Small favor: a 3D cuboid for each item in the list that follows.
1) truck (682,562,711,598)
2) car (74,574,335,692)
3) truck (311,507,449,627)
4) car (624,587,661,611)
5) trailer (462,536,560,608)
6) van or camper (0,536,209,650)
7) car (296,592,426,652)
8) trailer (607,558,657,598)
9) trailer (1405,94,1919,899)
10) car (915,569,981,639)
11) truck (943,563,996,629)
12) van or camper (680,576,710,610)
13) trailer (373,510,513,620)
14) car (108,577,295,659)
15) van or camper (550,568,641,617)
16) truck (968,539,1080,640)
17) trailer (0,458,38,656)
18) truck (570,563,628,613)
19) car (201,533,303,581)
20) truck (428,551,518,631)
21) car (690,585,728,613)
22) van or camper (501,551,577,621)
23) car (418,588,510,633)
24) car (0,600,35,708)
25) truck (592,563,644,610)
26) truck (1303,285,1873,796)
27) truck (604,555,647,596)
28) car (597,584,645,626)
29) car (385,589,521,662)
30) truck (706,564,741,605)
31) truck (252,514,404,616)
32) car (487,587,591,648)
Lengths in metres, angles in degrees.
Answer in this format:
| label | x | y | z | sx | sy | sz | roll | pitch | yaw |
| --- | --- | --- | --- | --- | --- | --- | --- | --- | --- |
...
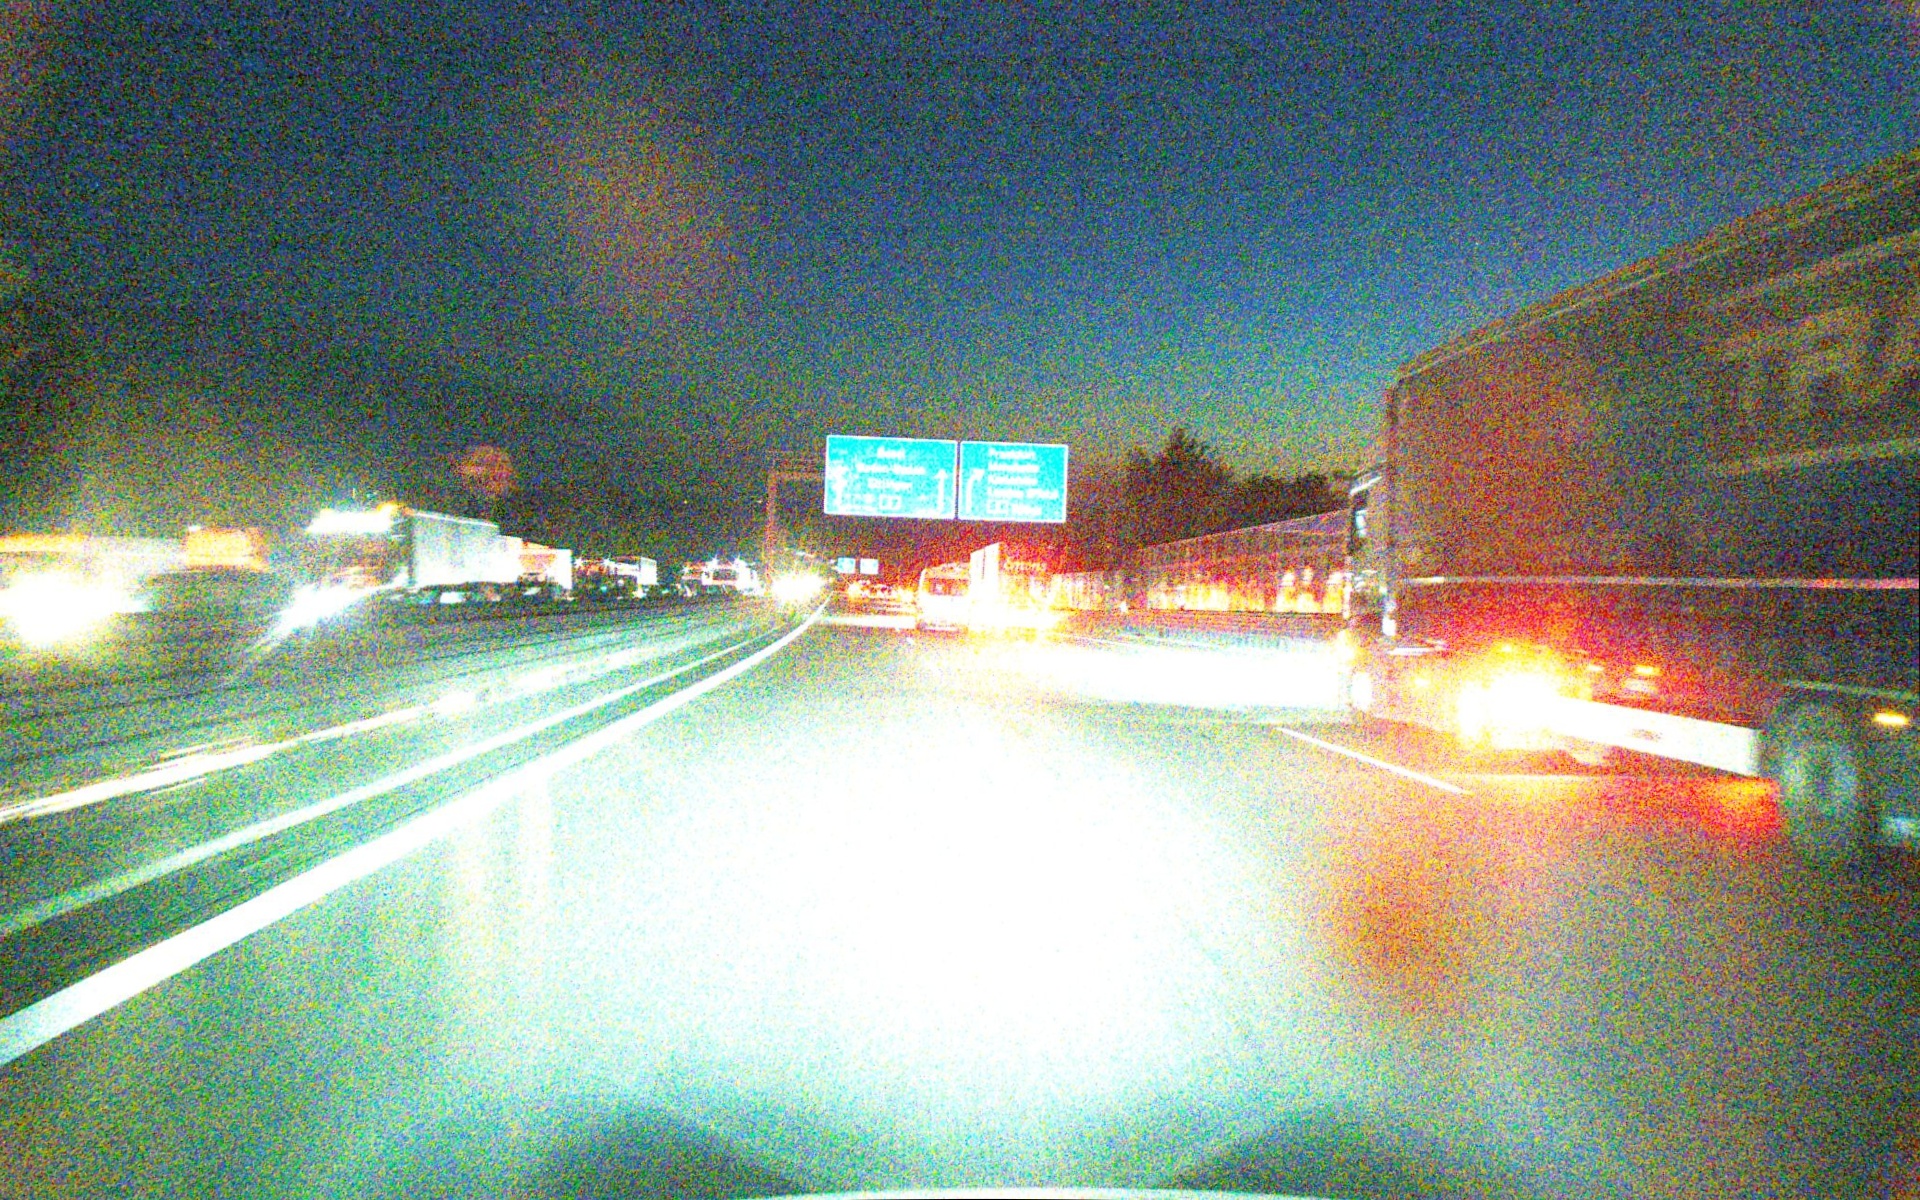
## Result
| label | x | y | z | sx | sy | sz | roll | pitch | yaw |
| --- | --- | --- | --- | --- | --- | --- | --- | --- | --- |
| truck | -28.577 | -2.199 | 179.418 | 2.820 | 3.737 | 6.040 | 3 | 0 | -8 |
| car | -9.811 | 0.395 | 21.820 | 1.538 | 1.378 | 4.000 | 1 | 0 | 1 |
| truck | -18.859 | -1.023 | 54.208 | 2.355 | 3.575 | 6.719 | 2 | 0 | -3 |
| car | -18.732 | -0.062 | 97.696 | 1.539 | 1.378 | 3.998 | 1 | 0 | -3 |
| trailer | -25.113 | -1.475 | 93.242 | 2.826 | 3.740 | 13.119 | 1 | 0 | -4 |
| van or camper | -17.831 | -0.144 | 33.712 | 2.144 | 2.049 | 7.633 | 1 | 0 | -5 |
| car | -14.950 | 0.517 | 41.506 | 1.760 | 1.378 | 4.238 | 1 | 0 | -1 |
| trailer | -30.890 | -2.012 | 156.386 | 2.902 | 3.502 | 13.425 | 3 | 0 | -4 |
| trailer | 6.253 | -0.542 | 10.359 | 2.797 | 4.138 | 13.197 | 0 | 0 | -3 |
| car | -0.422 | 0.164 | 66.975 | 2.288 | 2.686 | 5.249 | 1 | 0 | 3 |
| truck | 0.600 | -0.342 | 126.200 | 3.277 | 4.554 | 13.904 | 3 | 0 | -2 |
| van or camper | -22.127 | -0.590 | 138.274 | 2.044 | 2.678 | 7.595 | 1 | 0 | -6 |
| trailer | -19.323 | -1.185 | 62.573 | 2.346 | 3.690 | 11.171 | 2 | 0 | -4 |
| car | -13.889 | 0.316 | 30.518 | 1.538 | 1.378 | 4.000 | 1 | 0 | 1 |
| van or camper | -11.144 | -0.229 | 50.928 | 1.783 | 1.378 | 5.349 | 1 | 0 | -2 |
| truck | 3.041 | -0.512 | 87.185 | 3.837 | 4.708 | 21.003 | 0 | 0 | -3 |
| trailer | -16.955 | -0.823 | 23.585 | 2.553 | 3.231 | 9.000 | 3 | -1 | -1 |
| truck | -23.161 | -0.708 | 106.333 | 2.506 | 3.038 | 7.446 | 1 | -1 | -4 |
| car | -22.418 | -1.331 | 52.512 | 1.538 | 1.378 | 3.999 | 1 | 0 | -1 |
| truck | -24.366 | -0.434 | 83.081 | 2.826 | 3.740 | 7.257 | 1 | 0 | -4 |
| car | -13.025 | -0.072 | 85.989 | 1.539 | 1.378 | 3.997 | 1 | 0 | -4 |
| van or camper | -21.397 | -0.686 | 84.408 | 2.384 | 3.329 | 7.387 | 1 | 0 | -4 |
| car | -16.099 | 0.320 | 53.902 | 1.760 | 1.378 | 4.238 | 1 | 0 | -1 |
| car | -13.080 | 0.675 | 19.912 | 1.538 | 1.378 | 4.001 | 1 | 0 | 1 |
| truck | -23.694 | -0.855 | 114.825 | 2.506 | 3.038 | 7.446 | 1 | -1 | -4 |
| truck | 5.919 | -0.500 | 17.266 | 2.804 | 4.148 | 7.506 | 0 | 0 | -3 |
| truck | -30.455 | -2.181 | 150.910 | 2.902 | 3.502 | 6.356 | 3 | 0 | -4 |
| car | -17.925 | 0.270 | 87.670 | 1.955 | 2.049 | 3.995 | 3 | -1 | -5 |
| car | -10.329 | 0.491 | 33.974 | 1.538 | 1.378 | 4.000 | 1 | 0 | 0 |
| truck | -23.409 | -1.521 | 163.652 | 2.818 | 3.737 | 6.772 | 3 | -1 | -5 |
| truck | -25.128 | -1.256 | 66.435 | 2.346 | 3.690 | 11.171 | 2 | 0 | -4 |
| car | -10.899 | 0.436 | 43.090 | 1.624 | 1.497 | 4.000 | 1 | 0 | 1 |
